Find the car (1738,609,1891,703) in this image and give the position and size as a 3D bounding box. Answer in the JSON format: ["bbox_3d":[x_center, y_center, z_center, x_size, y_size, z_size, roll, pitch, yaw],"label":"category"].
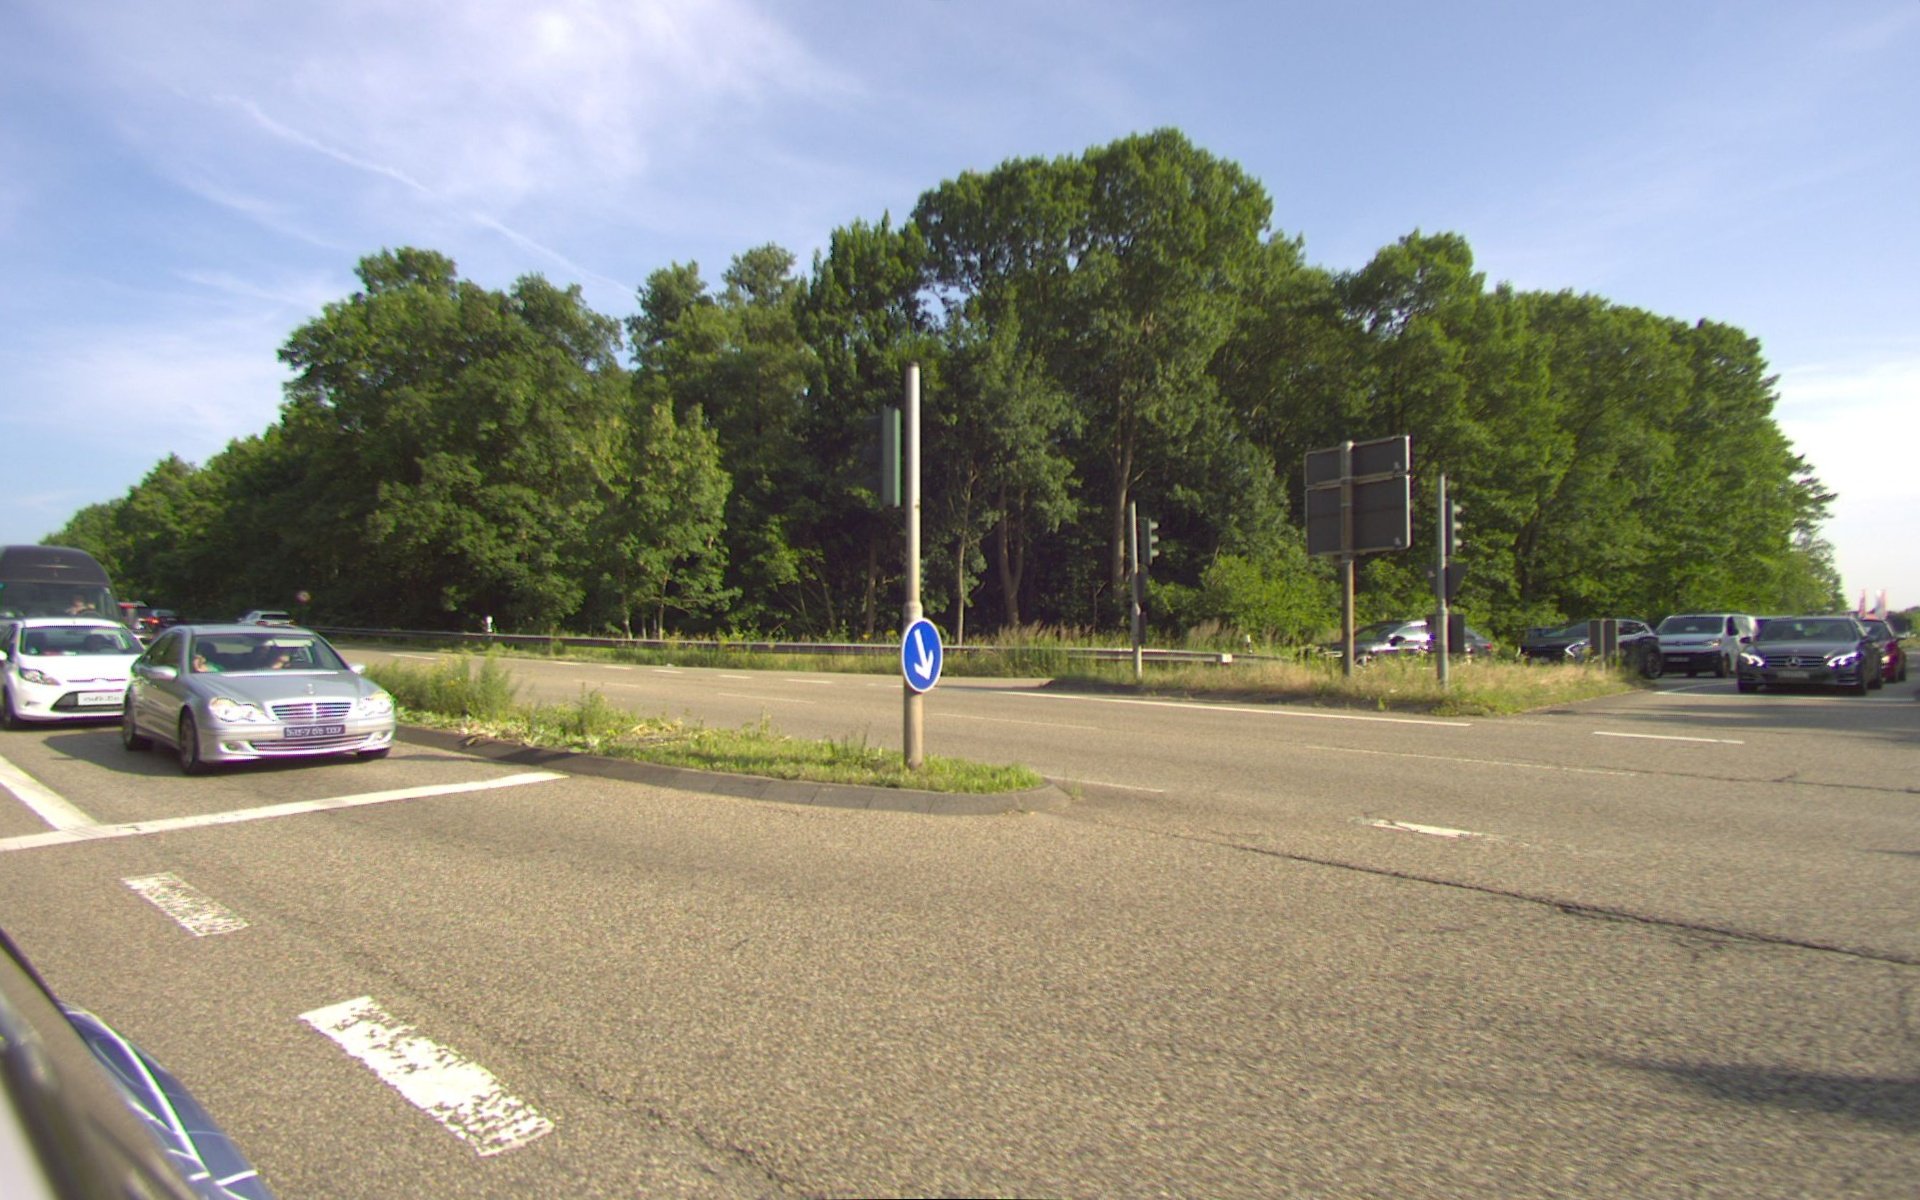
[{"bbox_3d":[16.087,0.957,19.184,1.998,1.501,4.364,-1,0,39],"label":"car"}]

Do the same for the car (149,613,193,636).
[{"bbox_3d":[-54.790,1.674,70.224,3.976,1.515,1.697,-1,-3,42],"label":"car"}]

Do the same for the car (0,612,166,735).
[{"bbox_3d":[-12.752,0.941,14.335,4.102,1.501,1.628,-1,-3,42],"label":"car"}]

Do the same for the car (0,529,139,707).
[{"bbox_3d":[-17.841,0.352,19.504,7.012,2.910,2.185,-1,-3,44],"label":"car"}]

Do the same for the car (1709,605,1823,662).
[{"bbox_3d":[27.273,1.075,34.183,4.580,1.740,2.195,-1,0,-41],"label":"car"}]

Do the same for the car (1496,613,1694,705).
[{"bbox_3d":[12.417,1.055,19.679,4.352,1.501,2.003,-1,0,-40],"label":"car"}]

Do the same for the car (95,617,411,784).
[{"bbox_3d":[-7.824,0.921,10.994,4.800,1.432,1.716,-1,-3,42],"label":"car"}]

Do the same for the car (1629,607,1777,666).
[{"bbox_3d":[21.954,1.002,29.820,4.991,1.501,2.451,-1,0,-41],"label":"car"}]

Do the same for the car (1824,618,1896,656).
[{"bbox_3d":[45.325,1.811,50.932,4.580,1.740,2.138,-1,0,-41],"label":"car"}]

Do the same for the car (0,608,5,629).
[{"bbox_3d":[-81.575,1.543,84.987,4.801,1.682,1.751,-1,-3,44],"label":"car"}]

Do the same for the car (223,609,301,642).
[{"bbox_3d":[-33.591,1.224,48.685,4.259,1.515,1.865,-1,-3,38],"label":"car"}]

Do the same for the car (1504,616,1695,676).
[{"bbox_3d":[16.827,1.144,26.574,5.115,1.353,2.059,-1,0,-29],"label":"car"}]

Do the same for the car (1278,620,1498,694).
[{"bbox_3d":[9.957,1.263,23.632,4.484,1.501,2.006,-1,0,-18],"label":"car"}]

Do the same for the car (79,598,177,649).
[{"bbox_3d":[-31.535,0.900,38.318,4.754,1.777,2.054,-1,-3,41],"label":"car"}]

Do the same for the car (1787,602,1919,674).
[{"bbox_3d":[21.814,0.838,24.353,4.912,1.501,2.211,-1,0,-41],"label":"car"}]
